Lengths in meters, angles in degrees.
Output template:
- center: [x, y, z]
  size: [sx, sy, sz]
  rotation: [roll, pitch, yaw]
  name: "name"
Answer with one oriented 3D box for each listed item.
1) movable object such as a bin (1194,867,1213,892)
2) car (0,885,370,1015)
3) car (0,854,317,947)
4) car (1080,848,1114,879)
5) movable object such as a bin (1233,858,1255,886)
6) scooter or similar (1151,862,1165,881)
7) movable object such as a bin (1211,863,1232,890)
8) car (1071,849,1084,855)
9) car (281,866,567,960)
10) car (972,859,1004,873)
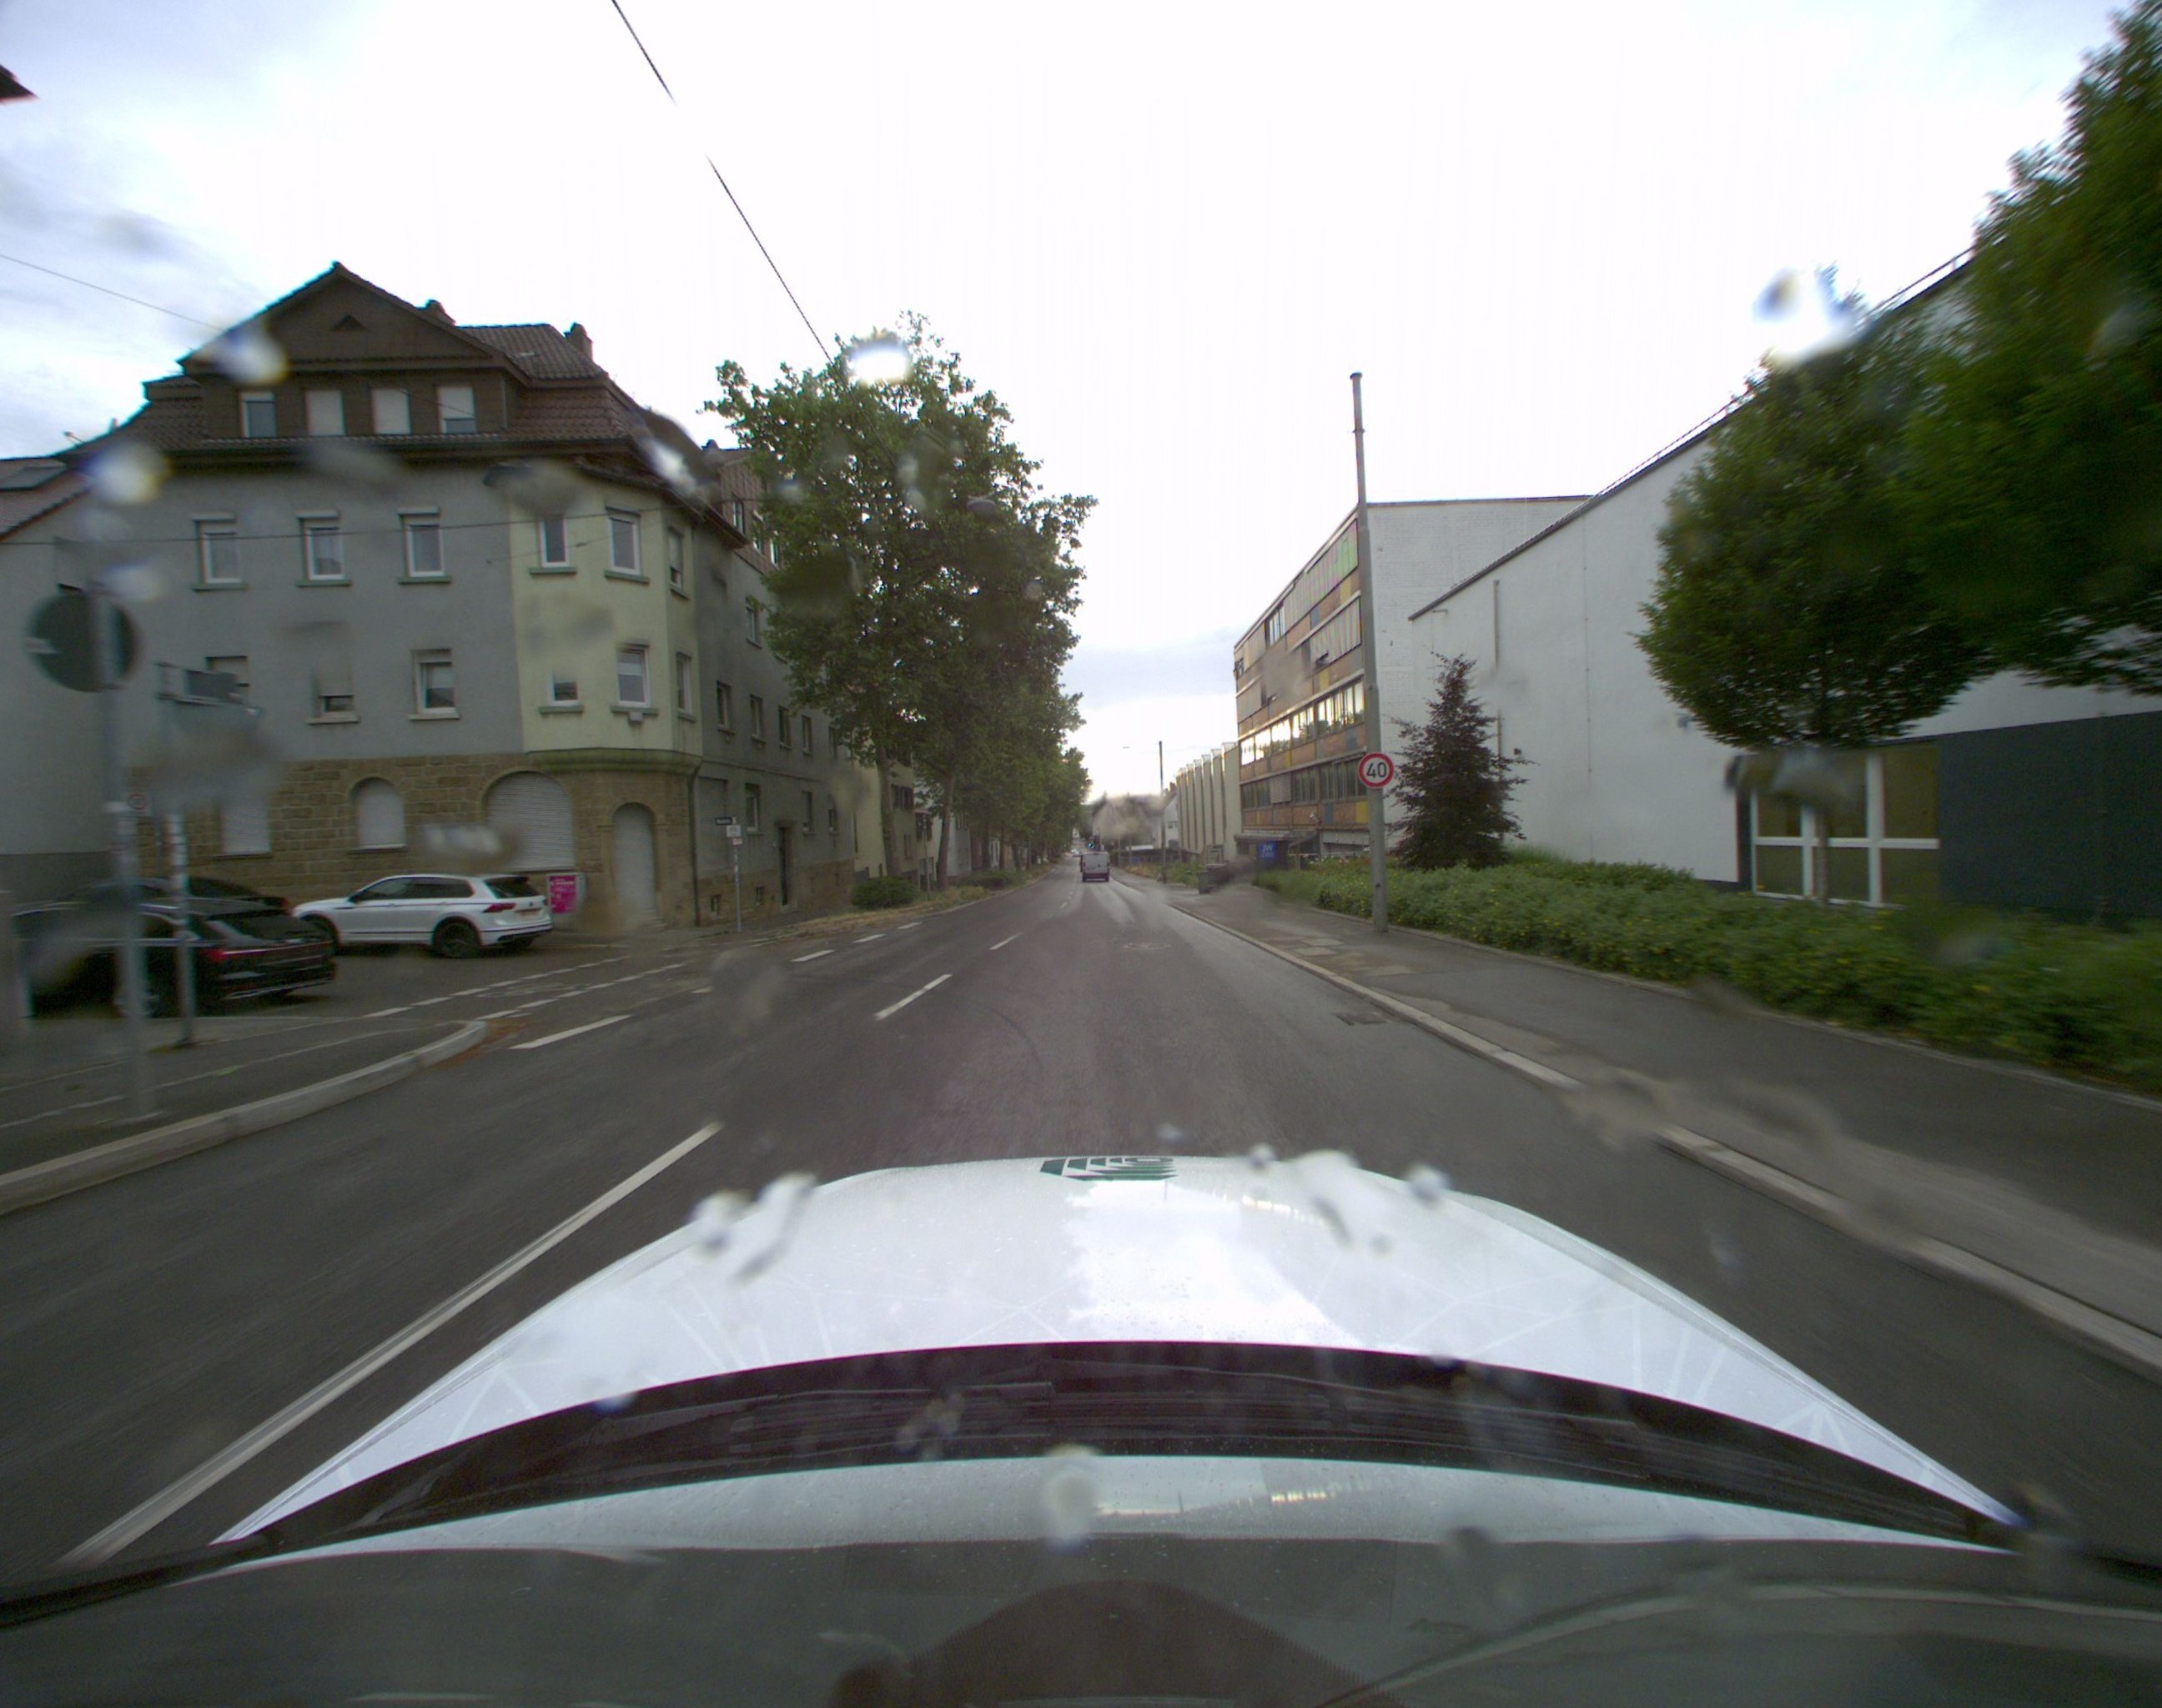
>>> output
- center: [5.080, 1.060, 33.863]
  size: [0.617, 0.936, 0.686]
  rotation: [-5, 0, 1]
  name: "movable object such as a bin"
- center: [-12.604, 1.232, 11.117]
  size: [3.975, 1.453, 1.999]
  rotation: [1, 0, -1]
  name: "car"
- center: [-18.684, 0.889, 16.643]
  size: [4.169, 1.704, 2.000]
  rotation: [1, 0, 0]
  name: "car"
- center: [1.193, 0.688, 63.875]
  size: [2.340, 2.160, 4.775]
  rotation: [-3, 2, -2]
  name: "car"
- center: [6.823, 0.759, 34.082]
  size: [0.692, 1.082, 0.779]
  rotation: [-5, 0, 1]
  name: "movable object such as a bin"
- center: [4.998, 1.116, 52.761]
  size: [0.604, 1.162, 1.697]
  rotation: [-2, -1, -4]
  name: "scooter or similar"
- center: [5.859, 0.938, 34.025]
  size: [0.692, 1.082, 0.779]
  rotation: [-5, 0, 1]
  name: "movable object such as a bin"
- center: [-0.913, -0.626, 218.922]
  size: [1.975, 1.576, 4.024]
  rotation: [-2, 0, 27]
  name: "car"
- center: [-13.242, 1.149, 16.633]
  size: [4.169, 1.704, 2.000]
  rotation: [1, 0, 0]
  name: "car"
- center: [-13.301, 1.718, 116.642]
  size: [4.184, 1.892, 1.999]
  rotation: [-2, 0, -1]
  name: "car"
